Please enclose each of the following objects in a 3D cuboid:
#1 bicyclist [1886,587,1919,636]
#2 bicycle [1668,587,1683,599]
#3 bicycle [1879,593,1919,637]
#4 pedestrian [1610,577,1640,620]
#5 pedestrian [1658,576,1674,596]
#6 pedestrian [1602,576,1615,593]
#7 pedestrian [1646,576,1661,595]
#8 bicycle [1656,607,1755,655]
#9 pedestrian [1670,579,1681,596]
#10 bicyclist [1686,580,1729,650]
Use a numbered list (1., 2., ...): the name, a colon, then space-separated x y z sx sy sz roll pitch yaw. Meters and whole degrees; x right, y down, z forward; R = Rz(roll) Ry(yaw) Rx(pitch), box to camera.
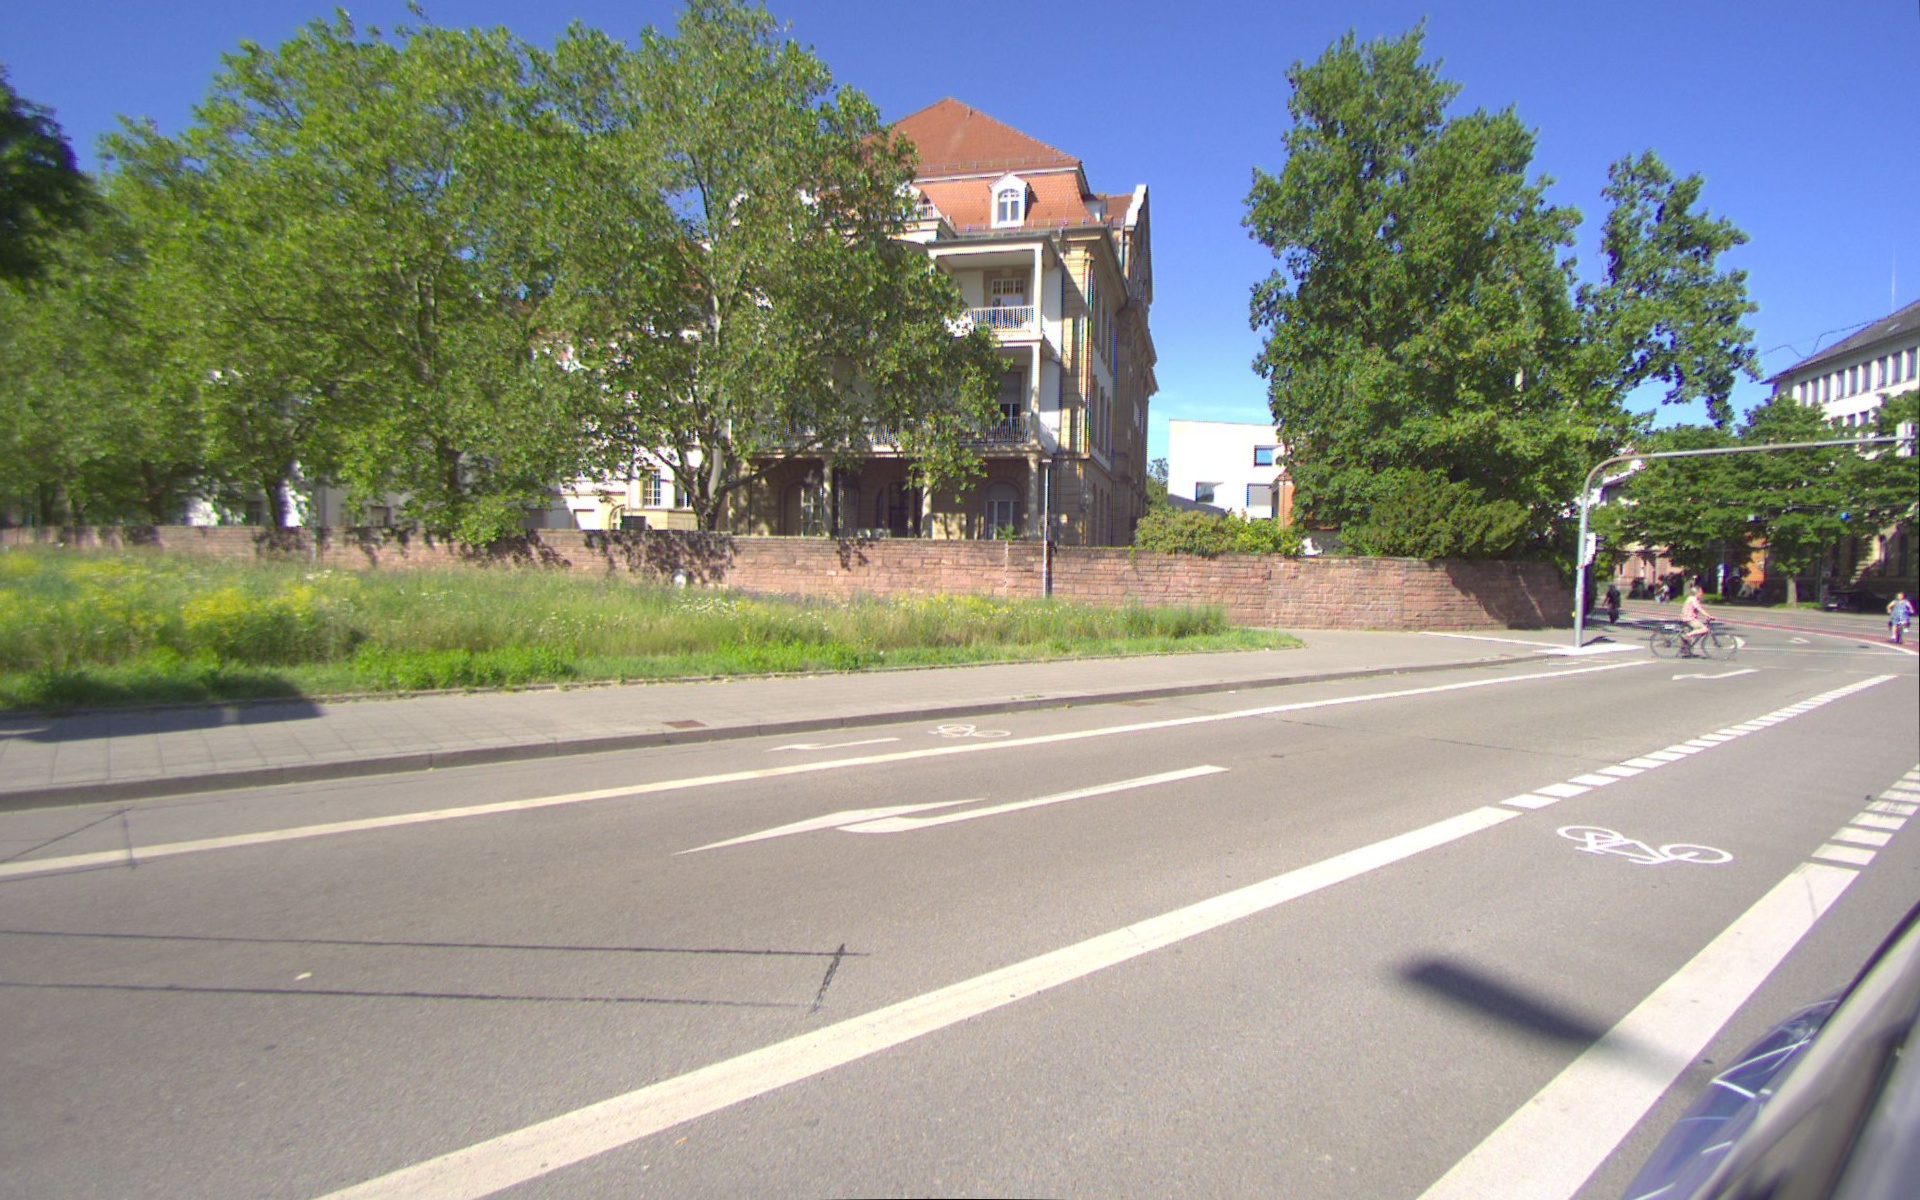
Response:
1. bicyclist: 31.660 0.364 33.626 0.860 1.579 1.271 2 2 23
2. bicycle: 61.301 -0.580 86.721 0.593 1.019 1.975 0 1 20
3. bicycle: 31.661 0.488 33.661 0.754 1.385 2.717 2 2 23
4. pedestrian: 27.442 -0.073 41.786 0.935 1.742 0.983 2 2 37
5. pedestrian: 64.706 -1.305 92.752 0.745 1.835 0.978 1 1 9
6. pedestrian: 69.863 -1.705 109.018 0.745 1.835 0.978 1 1 10
7. pedestrian: 67.006 -1.405 97.749 0.742 1.836 0.981 2 -2 -7
8. bicycle: 18.012 0.726 24.488 1.877 1.083 0.714 1 1 42
9. pedestrian: 61.256 -1.065 86.627 0.588 1.420 0.642 0 0 20
10. bicyclist: 18.059 0.345 24.451 0.775 1.626 0.712 1 1 42
